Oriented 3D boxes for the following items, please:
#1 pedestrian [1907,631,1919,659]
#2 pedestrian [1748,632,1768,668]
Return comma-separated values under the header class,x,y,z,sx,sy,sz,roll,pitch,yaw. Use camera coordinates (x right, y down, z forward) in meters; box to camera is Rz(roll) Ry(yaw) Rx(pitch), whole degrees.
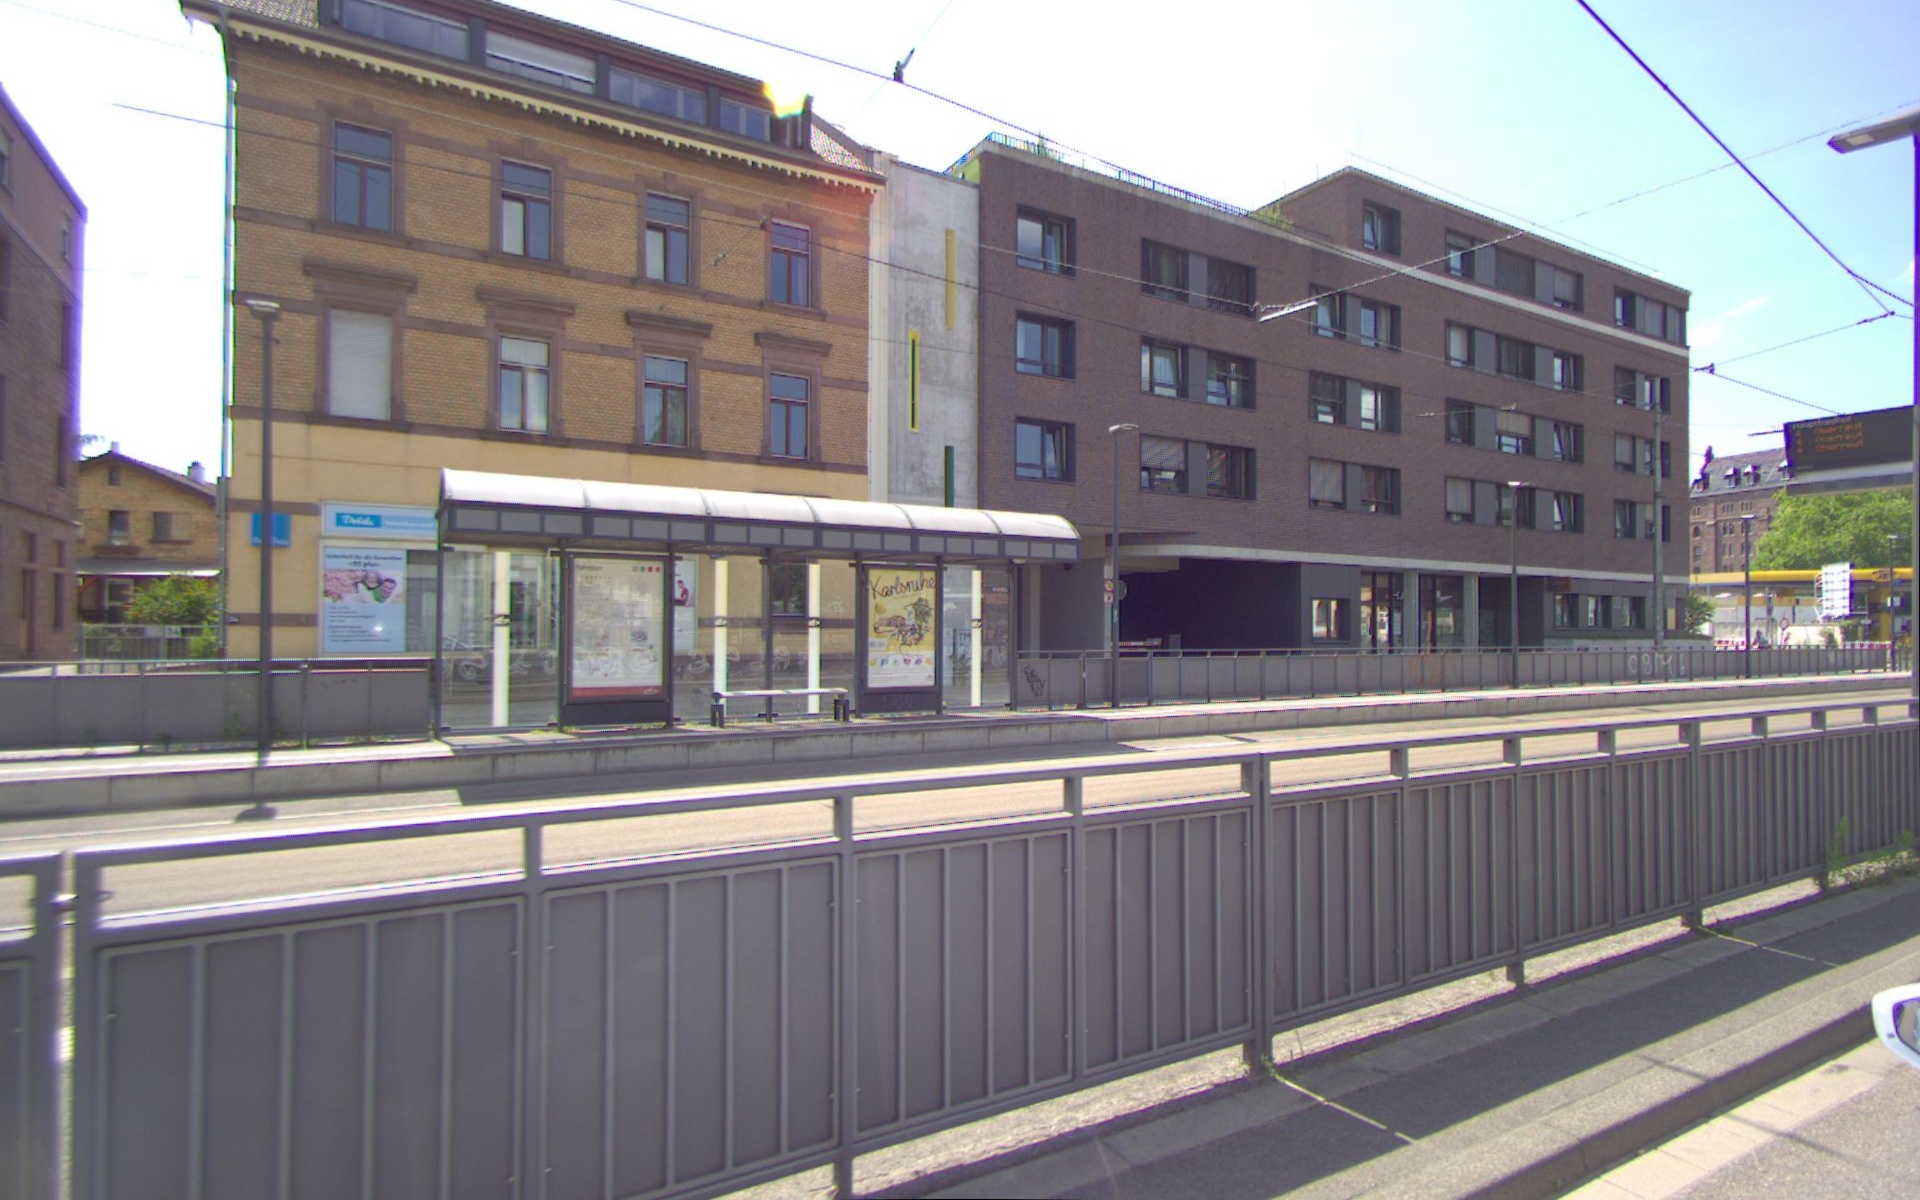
class,x,y,z,sx,sy,sz,roll,pitch,yaw
pedestrian,59.098,2.774,62.192,0.665,1.680,0.550,1,-1,-31
pedestrian,32.064,2.015,40.340,0.530,1.402,0.433,2,-3,-31
